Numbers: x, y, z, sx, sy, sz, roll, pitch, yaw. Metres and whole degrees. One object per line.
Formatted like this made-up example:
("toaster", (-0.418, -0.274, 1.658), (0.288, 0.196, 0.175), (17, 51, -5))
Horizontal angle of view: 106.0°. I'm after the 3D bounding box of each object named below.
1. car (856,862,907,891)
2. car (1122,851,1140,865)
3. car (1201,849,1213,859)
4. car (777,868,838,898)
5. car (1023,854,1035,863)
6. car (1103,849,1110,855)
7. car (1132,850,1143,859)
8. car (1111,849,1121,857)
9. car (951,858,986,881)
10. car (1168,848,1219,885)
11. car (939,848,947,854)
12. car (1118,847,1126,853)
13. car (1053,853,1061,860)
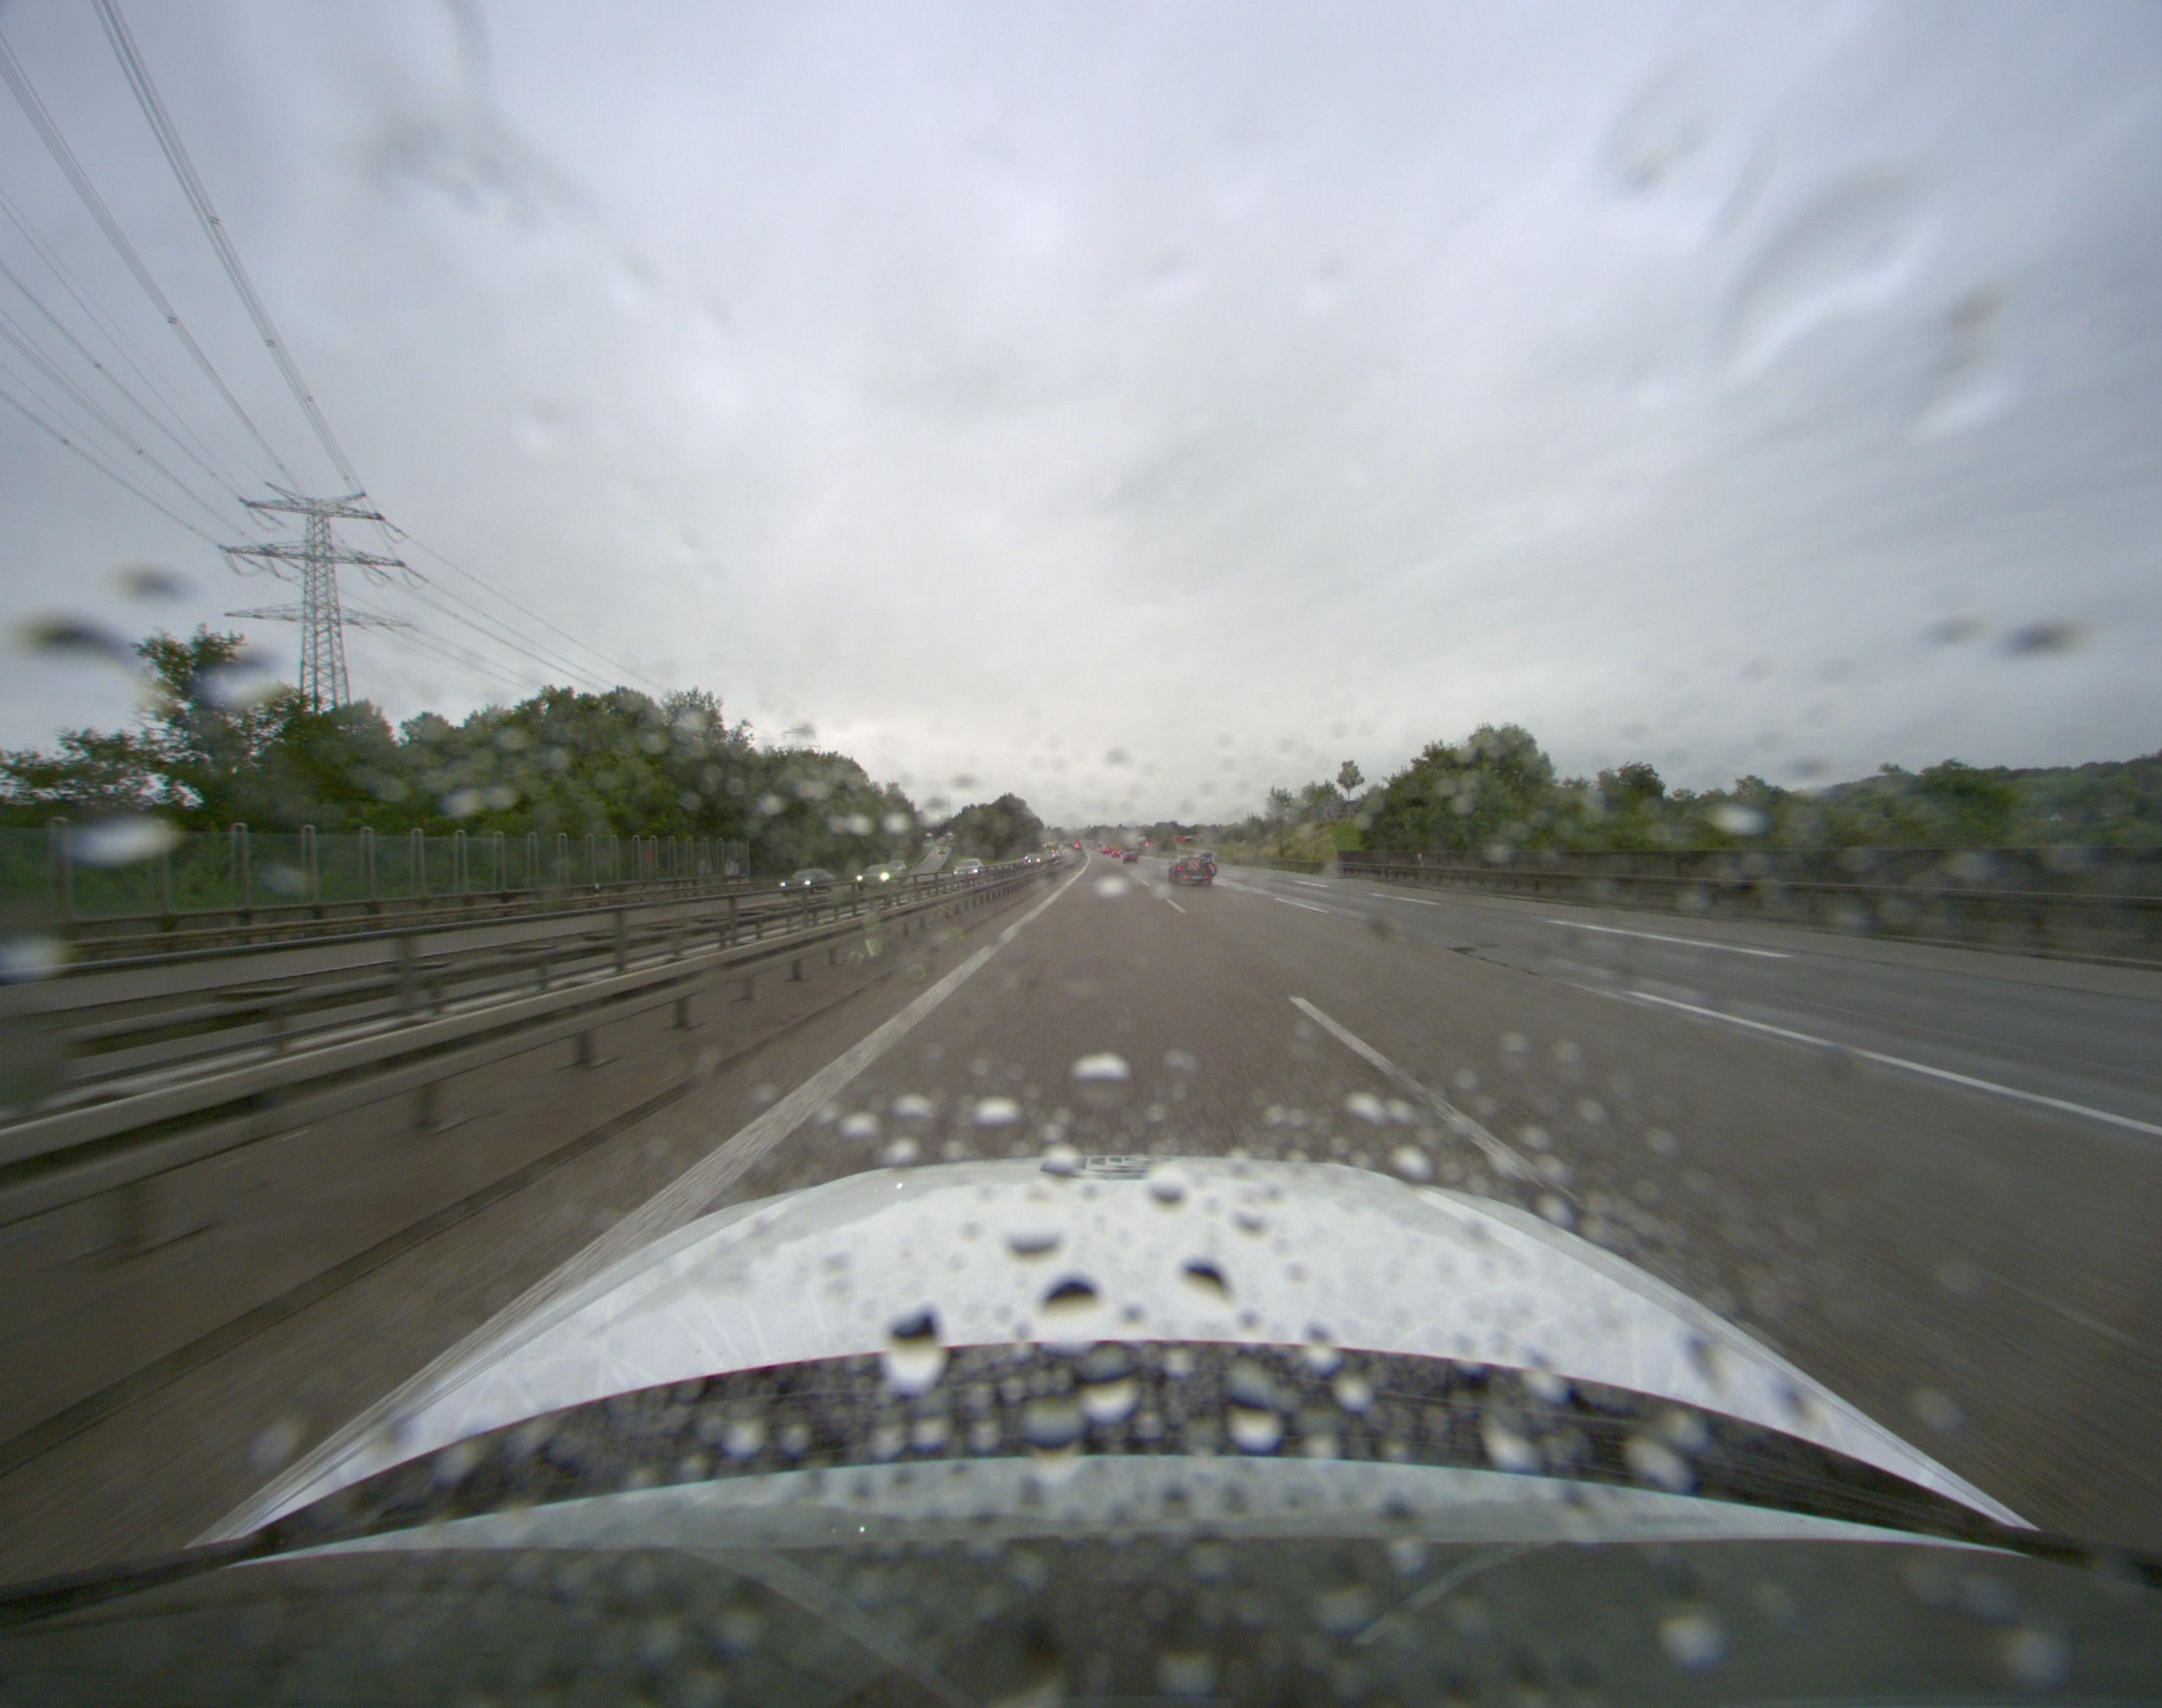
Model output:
("car", (-11.516, 1.280, 47.265), (1.809, 1.437, 4.090), (-3, 0, 2))
("car", (6.677, 0.568, 109.118), (1.987, 1.761, 3.999), (-2, 1, 0))
("car", (23.631, -0.036, 152.654), (1.912, 1.709, 4.008), (-2, 0, 6))
("car", (-15.140, 1.577, 45.250), (1.809, 1.388, 4.090), (-3, 0, 2))
("car", (-10.244, 0.837, 161.235), (1.898, 1.665, 4.715), (-3, 0, 1))
("car", (7.497, -0.690, 240.065), (1.987, 1.628, 3.999), (-2, 1, 0))
("car", (11.854, 0.094, 170.257), (1.987, 1.761, 3.999), (-2, 1, 0))
("car", (7.562, -0.266, 177.336), (1.987, 1.628, 3.999), (-2, 1, 0))
("car", (-7.782, 1.077, 56.741), (1.650, 1.437, 4.090), (-3, 0, 2))
("car", (5.399, 0.593, 39.763), (2.049, 1.671, 5.526), (-1, 0, 3))
("car", (-36.535, -0.828, 215.652), (1.969, 1.543, 3.984), (-2, 0, -12))
("car", (12.615, -1.255, 249.647), (1.987, 1.628, 3.999), (-2, 1, 0))
("car", (-6.053, 0.664, 206.913), (1.751, 1.461, 4.763), (-4, 0, 1))
